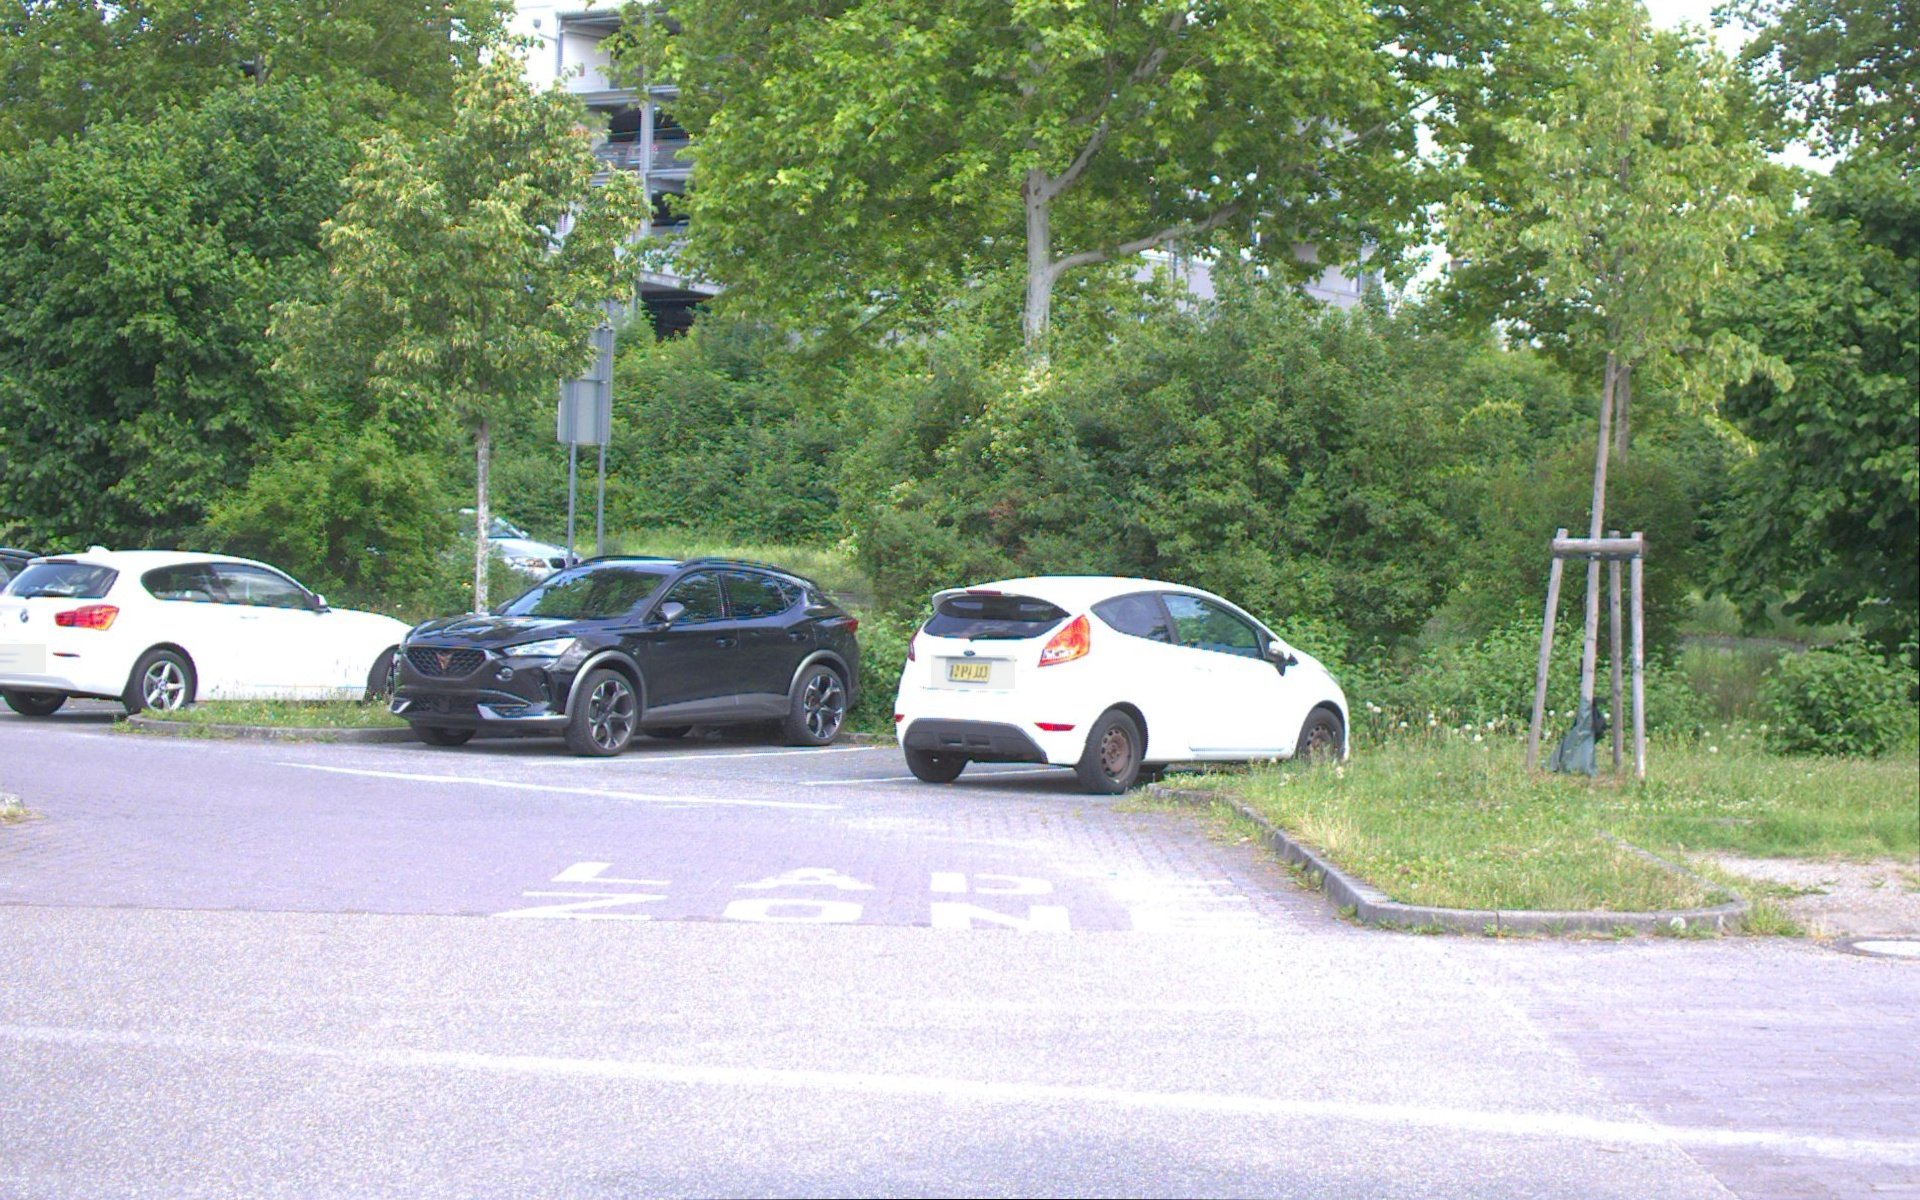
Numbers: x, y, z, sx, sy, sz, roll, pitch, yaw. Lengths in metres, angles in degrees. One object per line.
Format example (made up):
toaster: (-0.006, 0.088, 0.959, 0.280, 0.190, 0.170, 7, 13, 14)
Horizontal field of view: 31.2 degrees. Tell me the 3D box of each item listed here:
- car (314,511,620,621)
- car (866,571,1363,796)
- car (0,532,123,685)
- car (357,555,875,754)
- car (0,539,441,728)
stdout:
car: (-7.829, -0.553, 54.467, 4.736, 1.584, 1.745, 2, 1, 31)
car: (1.144, 0.541, 24.189, 1.669, 1.407, 3.549, 2, 1, 39)
car: (-10.397, 0.056, 32.540, 1.837, 1.446, 4.715, 2, 1, 36)
car: (-2.640, 0.392, 27.293, 1.731, 1.405, 4.234, 2, 1, 35)
car: (-6.561, 0.260, 29.647, 1.688, 1.504, 4.073, 1, 1, 38)
